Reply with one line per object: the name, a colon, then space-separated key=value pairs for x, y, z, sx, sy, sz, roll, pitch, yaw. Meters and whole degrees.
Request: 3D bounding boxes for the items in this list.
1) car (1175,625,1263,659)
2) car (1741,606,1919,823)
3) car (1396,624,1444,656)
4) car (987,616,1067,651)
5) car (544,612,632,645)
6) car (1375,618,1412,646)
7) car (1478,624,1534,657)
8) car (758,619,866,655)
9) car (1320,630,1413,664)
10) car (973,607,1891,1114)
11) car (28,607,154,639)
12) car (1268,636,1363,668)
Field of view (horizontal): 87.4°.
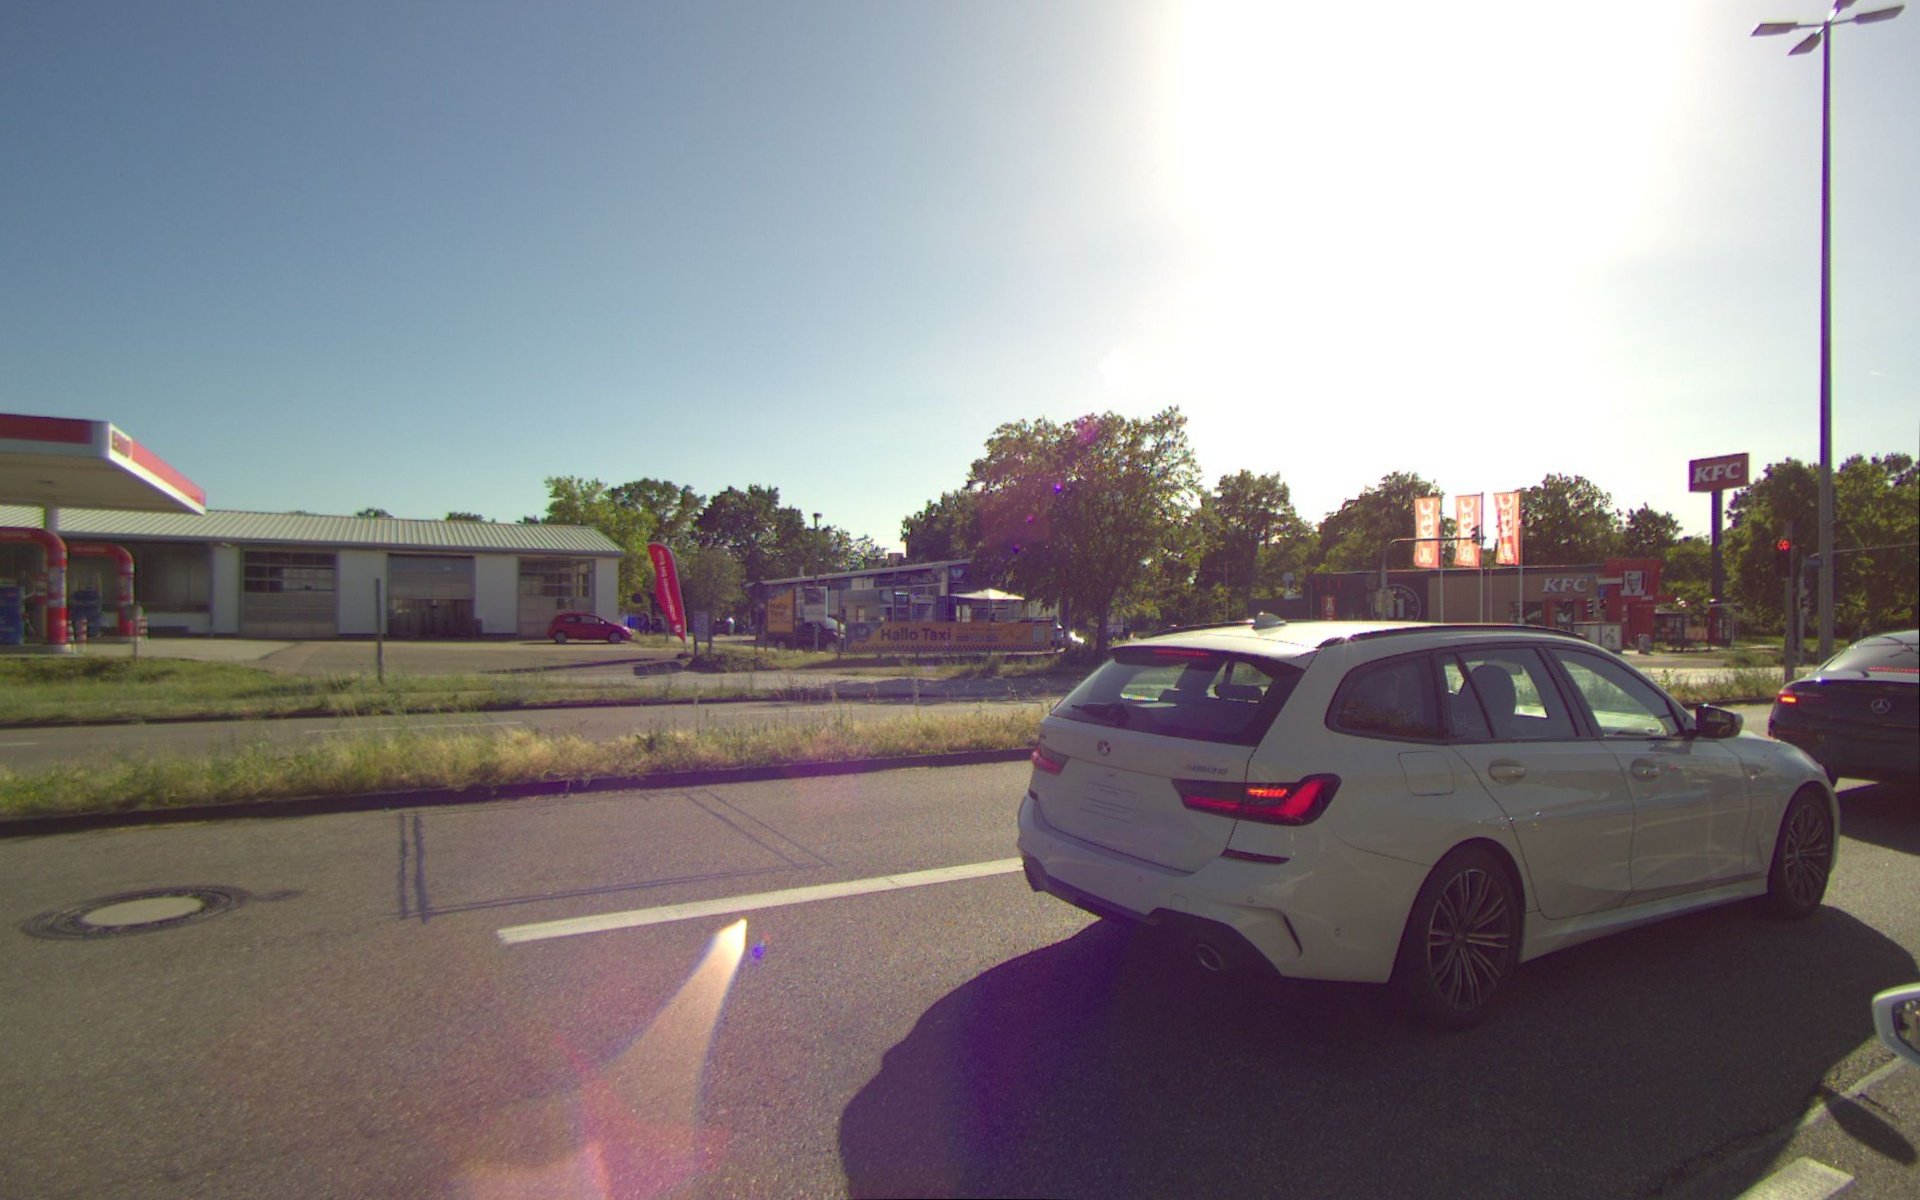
car: x=13.956 y=2.232 z=54.447 sx=1.914 sy=1.600 sz=4.599 roll=2 pitch=0 yaw=-31
car: x=8.811 y=0.881 z=8.652 sx=4.491 sy=1.572 sz=1.803 roll=1 pitch=0 yaw=-31
car: x=28.056 y=2.405 z=61.388 sx=1.896 sy=1.763 sz=4.099 roll=2 pitch=0 yaw=14
car: x=3.109 y=1.544 z=47.408 sx=1.974 sy=1.461 sz=3.972 roll=2 pitch=0 yaw=-27
car: x=-18.273 y=1.386 z=49.340 sx=3.949 sy=1.491 sz=1.521 roll=2 pitch=0 yaw=-24
car: x=31.522 y=2.299 z=73.149 sx=1.960 sy=1.837 sz=3.774 roll=2 pitch=0 yaw=16
car: x=32.696 y=2.380 z=60.238 sx=1.896 sy=1.763 sz=4.099 roll=2 pitch=0 yaw=14
car: x=-5.778 y=1.419 z=39.096 sx=3.930 sy=1.193 sz=1.774 roll=2 pitch=0 yaw=31
car: x=20.115 y=2.330 z=49.880 sx=1.914 sy=1.472 sz=3.935 roll=2 pitch=0 yaw=-30
car: x=2.471 y=0.824 z=4.924 sx=4.541 sy=1.506 sz=1.804 roll=1 pitch=0 yaw=-30
car: x=-36.348 y=0.970 z=42.133 sx=3.688 sy=1.203 sz=1.667 roll=2 pitch=0 yaw=-30
car: x=17.022 y=2.480 z=48.229 sx=1.850 sy=1.268 sz=4.062 roll=2 pitch=0 yaw=-31
